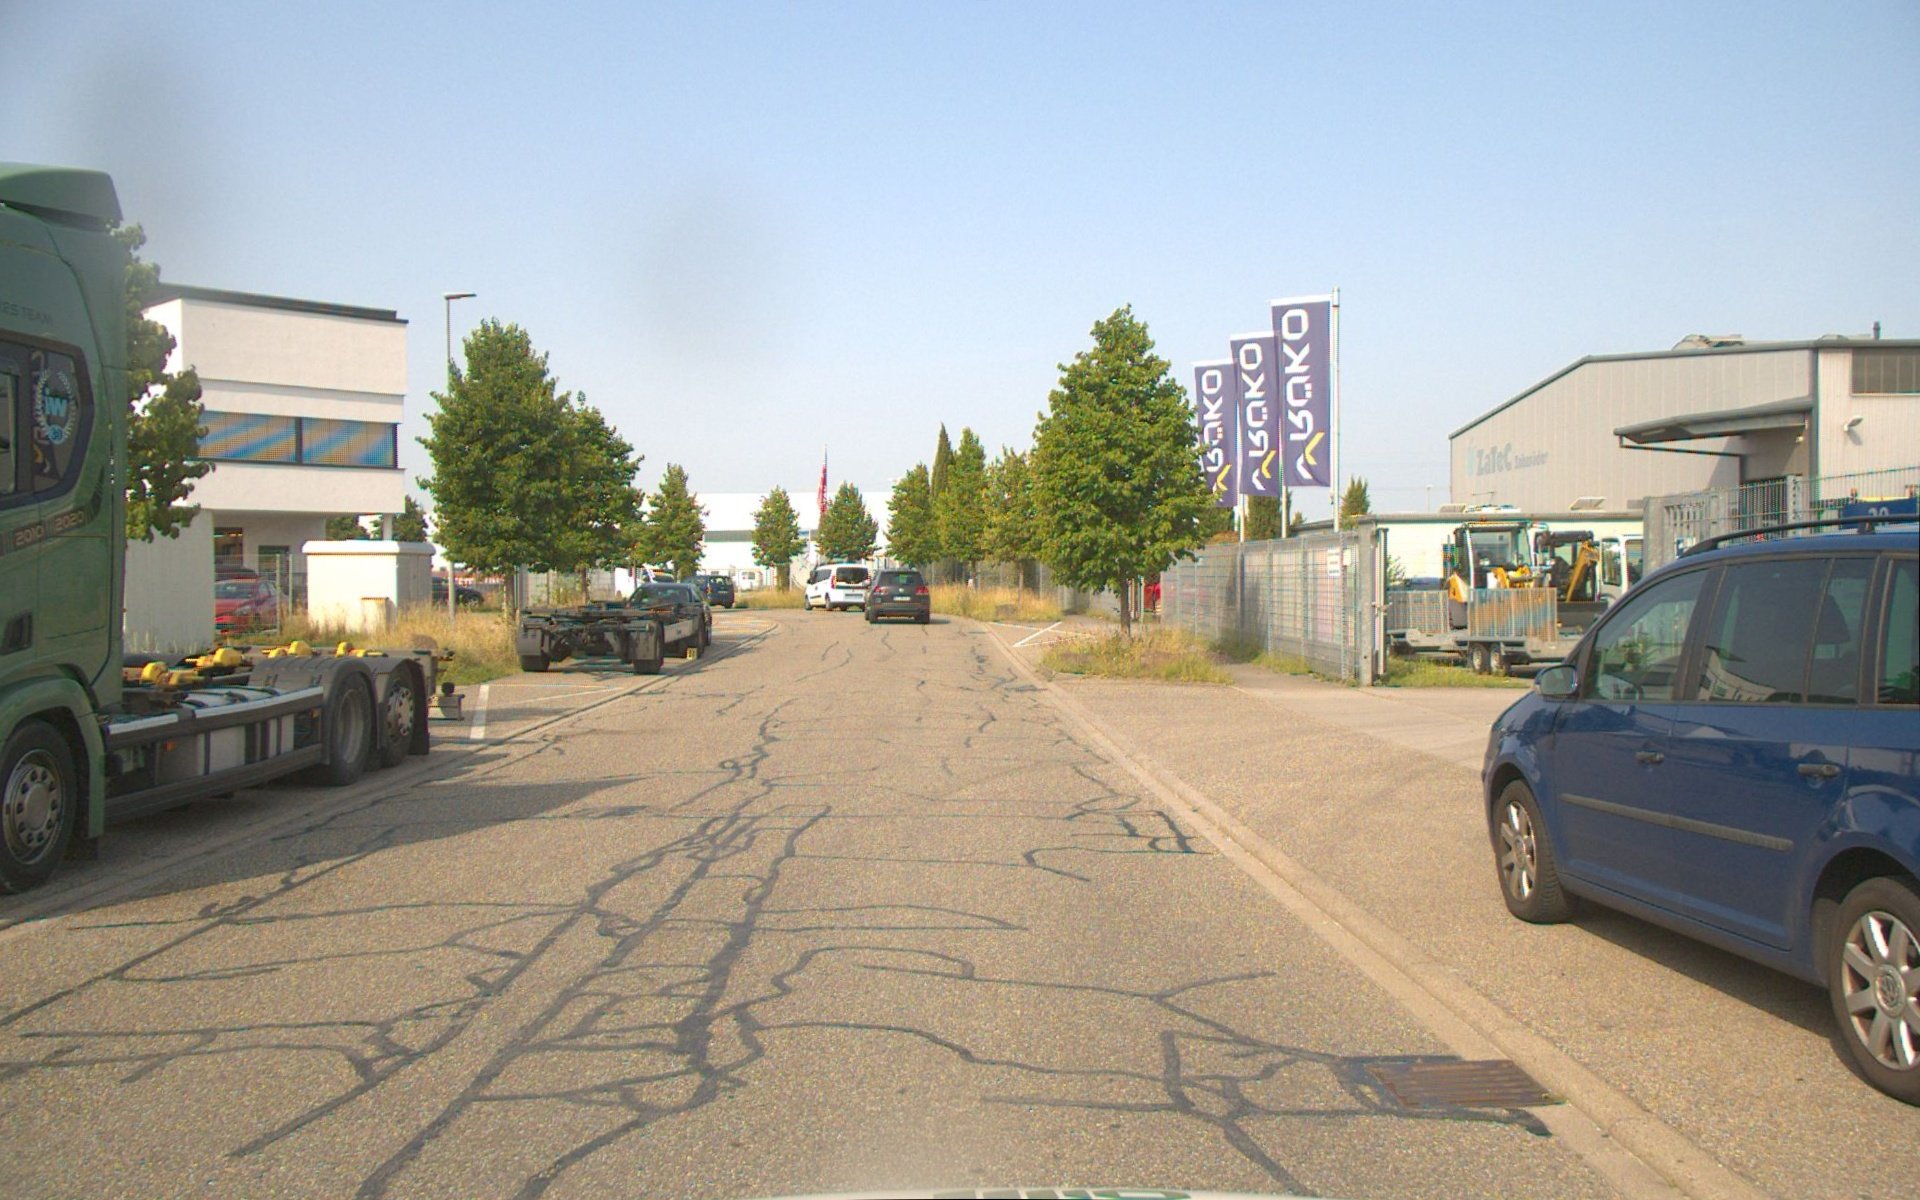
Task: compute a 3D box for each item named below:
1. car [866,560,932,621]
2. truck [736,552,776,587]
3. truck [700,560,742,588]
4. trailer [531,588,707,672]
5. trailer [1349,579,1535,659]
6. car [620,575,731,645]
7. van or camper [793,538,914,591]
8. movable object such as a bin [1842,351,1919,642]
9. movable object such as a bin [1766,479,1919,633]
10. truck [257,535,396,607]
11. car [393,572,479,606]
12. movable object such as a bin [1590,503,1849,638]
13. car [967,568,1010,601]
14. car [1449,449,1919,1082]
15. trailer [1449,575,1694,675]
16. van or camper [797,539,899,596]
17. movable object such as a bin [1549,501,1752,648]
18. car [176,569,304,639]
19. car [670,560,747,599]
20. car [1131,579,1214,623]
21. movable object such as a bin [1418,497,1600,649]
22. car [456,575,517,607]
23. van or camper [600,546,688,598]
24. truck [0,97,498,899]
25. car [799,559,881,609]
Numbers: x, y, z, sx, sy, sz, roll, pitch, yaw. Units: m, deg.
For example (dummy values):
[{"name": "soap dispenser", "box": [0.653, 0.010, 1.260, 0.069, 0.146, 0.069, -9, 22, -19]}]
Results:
[{"name": "car", "box": [-1.899, -0.333, 52.248, 1.953, 1.836, 3.999, 1, 1, -1]}, {"name": "truck", "box": [-16.939, -2.560, 137.915, 2.400, 2.875, 8.001, 0, 1, -1]}, {"name": "truck", "box": [-19.861, -2.181, 137.878, 2.400, 2.304, 8.001, 0, 1, -1]}, {"name": "trailer", "box": [-6.383, 0.490, 31.864, 2.087, 1.254, 7.156, 1, 2, -2]}, {"name": "trailer", "box": [8.490, 0.287, 29.540, 1.905, 1.265, 4.292, -1, 1, -3]}, {"name": "car", "box": [-6.759, 0.201, 39.719, 1.953, 1.492, 4.432, 1, 2, -1]}, {"name": "van or camper", "box": [-6.448, -2.132, 99.879, 7.122, 3.085, 2.581, -1, 1, -8]}, {"name": "movable object such as a bin", "box": [17.886, -1.730, 26.395, 3.250, 4.890, 7.670, -1, 1, -3]}, {"name": "movable object such as a bin", "box": [19.431, -0.938, 35.573, 1.952, 3.084, 4.492, -1, 1, -1]}, {"name": "truck", "box": [-37.273, -1.636, 96.888, 12.701, 3.997, 2.616, 0, 1, 45]}, {"name": "car", "box": [-23.826, -0.503, 75.256, 1.567, 1.479, 3.485, 0, 0, 40]}, {"name": "movable object such as a bin", "box": [15.596, -0.619, 34.391, 2.863, 2.535, 5.338, -1, 1, -1]}, {"name": "car", "box": [1.491, -0.847, 87.349, 1.689, 1.672, 3.994, 1, 1, -7]}, {"name": "car", "box": [3.471, 0.446, 6.315, 1.789, 1.750, 4.247, 0, 0, -3]}, {"name": "trailer", "box": [8.981, 0.332, 24.750, 1.953, 1.333, 4.563, -1, 0, 0]}, {"name": "van or camper", "box": [-6.062, -1.716, 88.418, 2.327, 2.897, 7.260, -1, 1, -32]}, {"name": "movable object such as a bin", "box": [12.811, -0.486, 31.042, 1.951, 2.501, 4.766, -1, 1, 2]}, {"name": "car", "box": [-17.967, 0.061, 41.460, 1.736, 1.551, 4.299, -1, 2, -7]}, {"name": "car", "box": [-12.418, -1.009, 81.476, 1.982, 1.836, 3.941, 0, 1, -41]}, {"name": "car", "box": [7.221, 0.011, 56.664, 1.844, 1.381, 4.769, -1, 1, -5]}, {"name": "movable object such as a bin", "box": [10.899, -0.547, 33.267, 1.848, 2.800, 5.159, -1, 1, -1]}, {"name": "car", "box": [-27.312, -0.521, 95.271, 1.981, 1.803, 3.943, -1, 1, -39]}, {"name": "van or camper", "box": [-19.201, -1.700, 100.291, 2.316, 2.994, 6.873, -1, 1, -39]}, {"name": "truck", "box": [-5.955, -0.538, 12.081, 2.405, 3.949, 9.802, 1, 0, 0]}, {"name": "car", "box": [-4.922, -0.654, 67.190, 1.967, 1.932, 4.435, -1, 1, -23]}]
